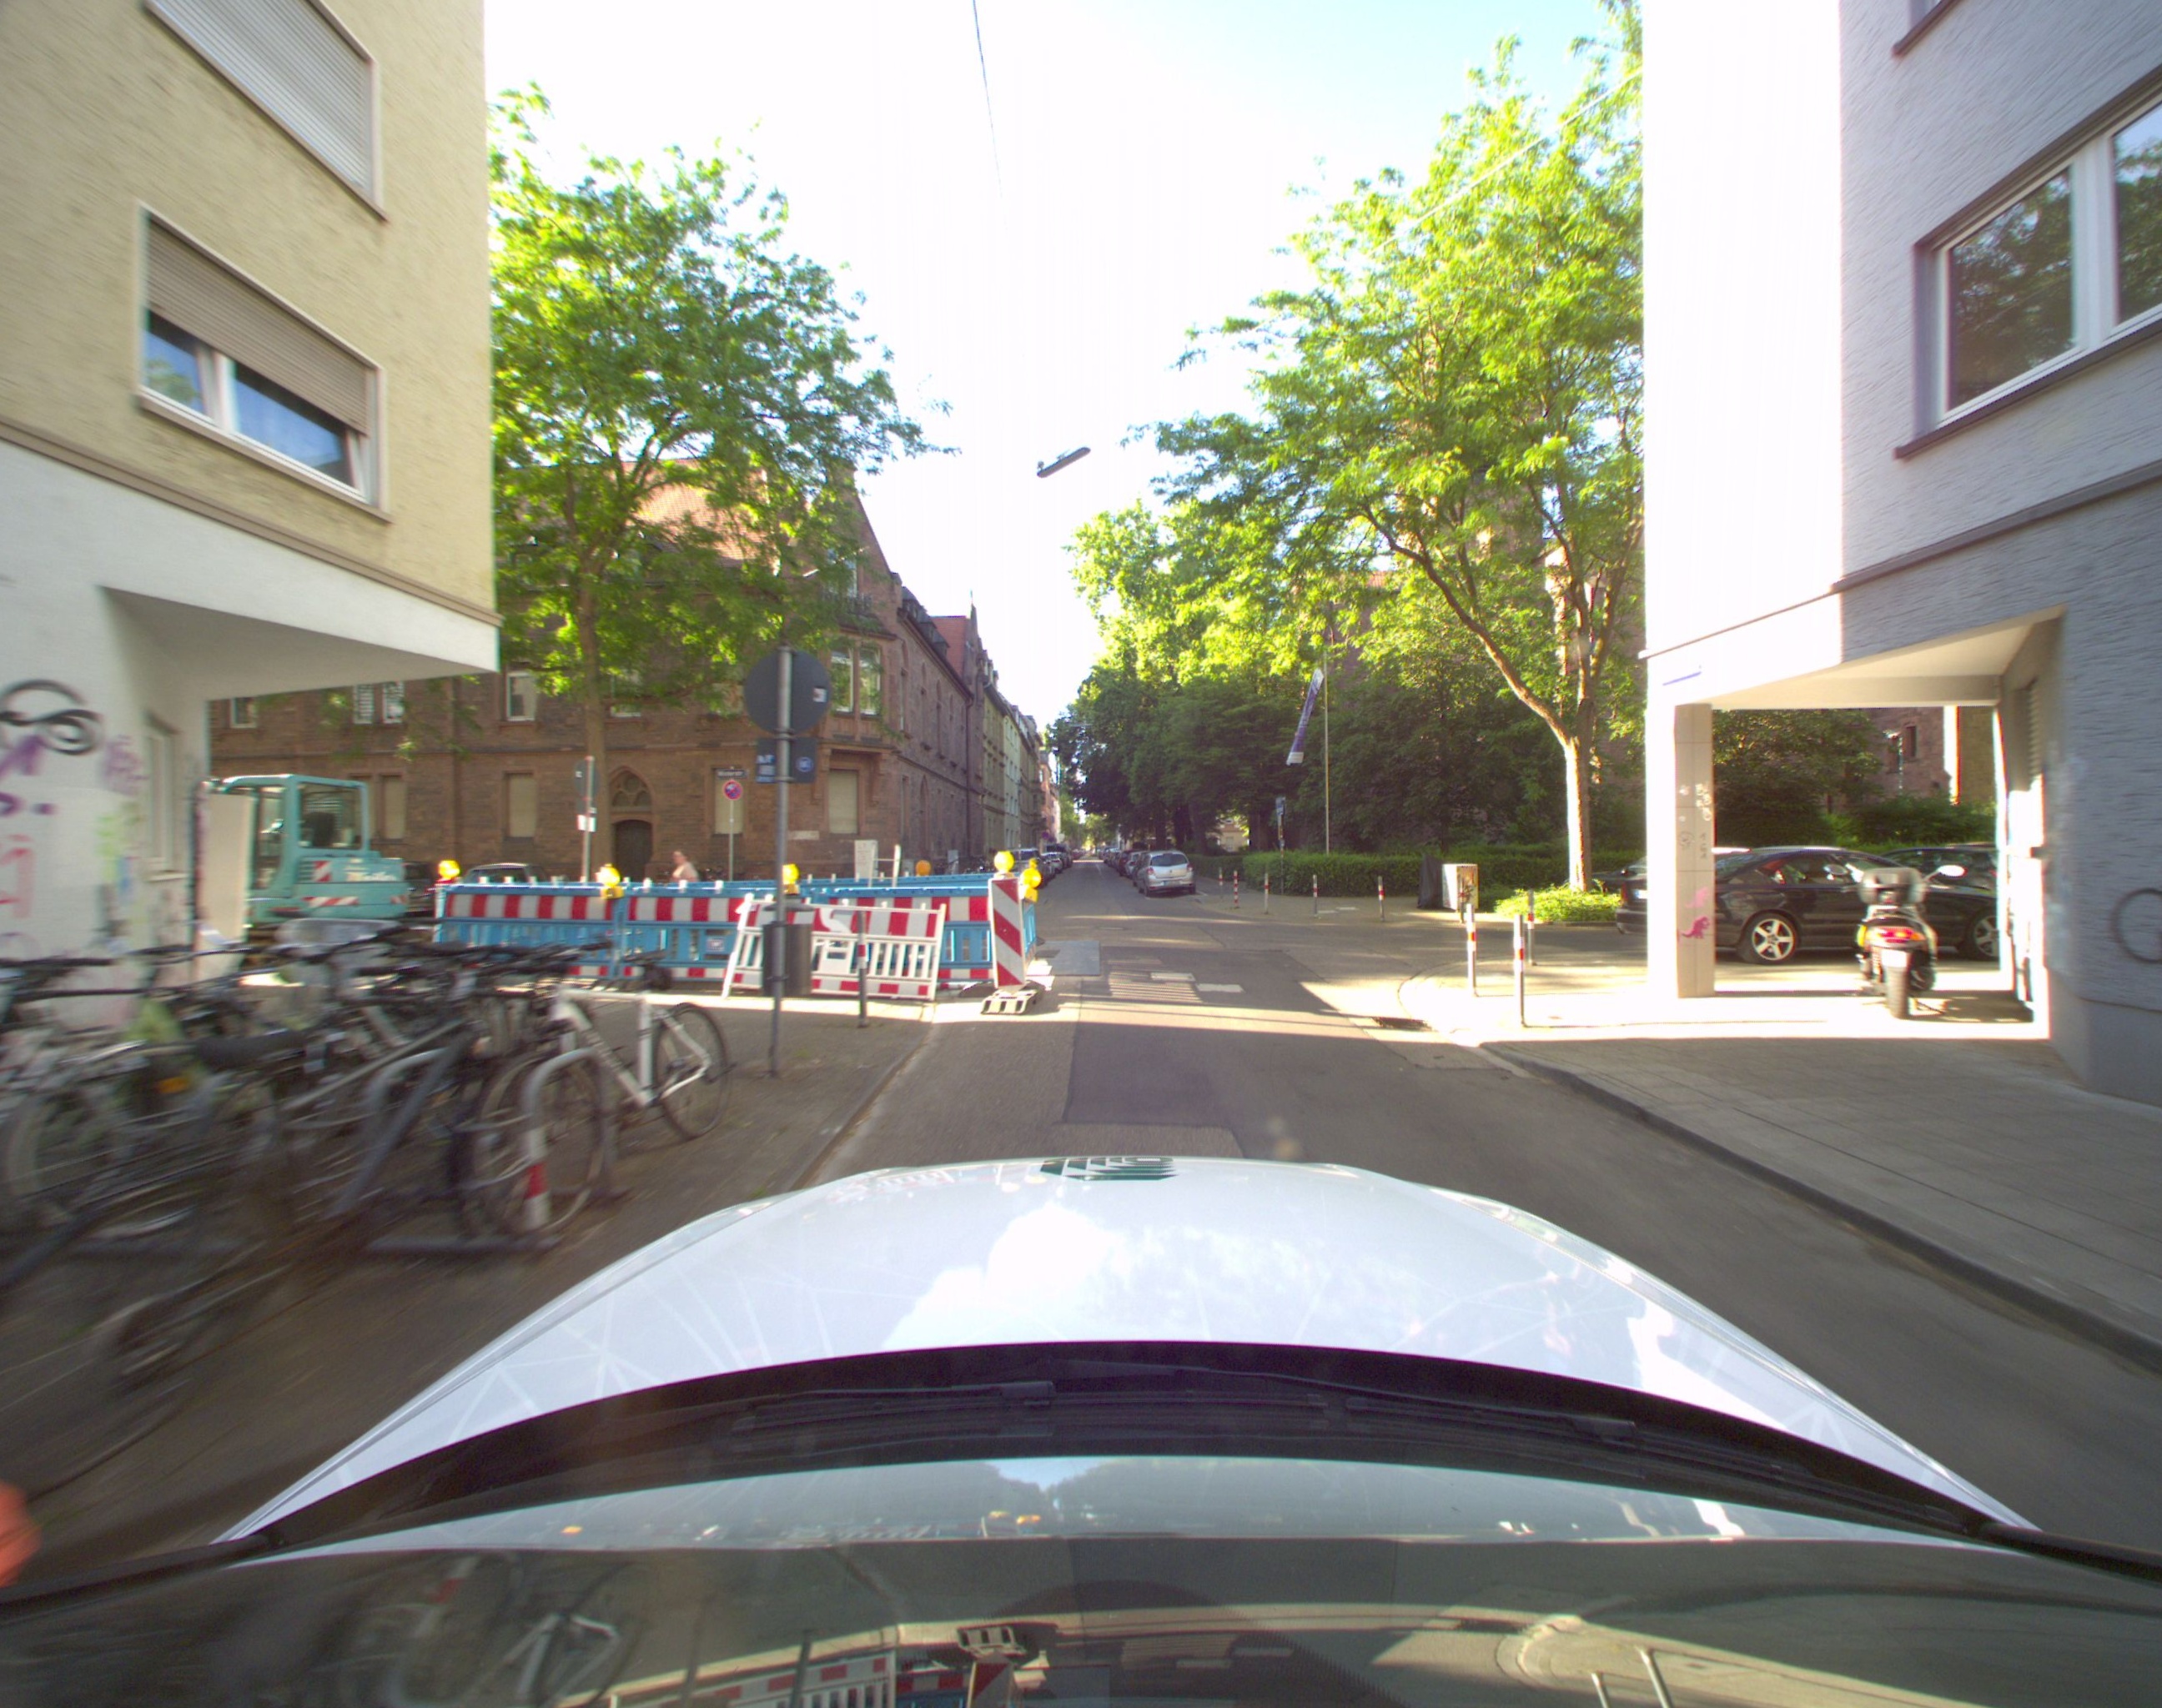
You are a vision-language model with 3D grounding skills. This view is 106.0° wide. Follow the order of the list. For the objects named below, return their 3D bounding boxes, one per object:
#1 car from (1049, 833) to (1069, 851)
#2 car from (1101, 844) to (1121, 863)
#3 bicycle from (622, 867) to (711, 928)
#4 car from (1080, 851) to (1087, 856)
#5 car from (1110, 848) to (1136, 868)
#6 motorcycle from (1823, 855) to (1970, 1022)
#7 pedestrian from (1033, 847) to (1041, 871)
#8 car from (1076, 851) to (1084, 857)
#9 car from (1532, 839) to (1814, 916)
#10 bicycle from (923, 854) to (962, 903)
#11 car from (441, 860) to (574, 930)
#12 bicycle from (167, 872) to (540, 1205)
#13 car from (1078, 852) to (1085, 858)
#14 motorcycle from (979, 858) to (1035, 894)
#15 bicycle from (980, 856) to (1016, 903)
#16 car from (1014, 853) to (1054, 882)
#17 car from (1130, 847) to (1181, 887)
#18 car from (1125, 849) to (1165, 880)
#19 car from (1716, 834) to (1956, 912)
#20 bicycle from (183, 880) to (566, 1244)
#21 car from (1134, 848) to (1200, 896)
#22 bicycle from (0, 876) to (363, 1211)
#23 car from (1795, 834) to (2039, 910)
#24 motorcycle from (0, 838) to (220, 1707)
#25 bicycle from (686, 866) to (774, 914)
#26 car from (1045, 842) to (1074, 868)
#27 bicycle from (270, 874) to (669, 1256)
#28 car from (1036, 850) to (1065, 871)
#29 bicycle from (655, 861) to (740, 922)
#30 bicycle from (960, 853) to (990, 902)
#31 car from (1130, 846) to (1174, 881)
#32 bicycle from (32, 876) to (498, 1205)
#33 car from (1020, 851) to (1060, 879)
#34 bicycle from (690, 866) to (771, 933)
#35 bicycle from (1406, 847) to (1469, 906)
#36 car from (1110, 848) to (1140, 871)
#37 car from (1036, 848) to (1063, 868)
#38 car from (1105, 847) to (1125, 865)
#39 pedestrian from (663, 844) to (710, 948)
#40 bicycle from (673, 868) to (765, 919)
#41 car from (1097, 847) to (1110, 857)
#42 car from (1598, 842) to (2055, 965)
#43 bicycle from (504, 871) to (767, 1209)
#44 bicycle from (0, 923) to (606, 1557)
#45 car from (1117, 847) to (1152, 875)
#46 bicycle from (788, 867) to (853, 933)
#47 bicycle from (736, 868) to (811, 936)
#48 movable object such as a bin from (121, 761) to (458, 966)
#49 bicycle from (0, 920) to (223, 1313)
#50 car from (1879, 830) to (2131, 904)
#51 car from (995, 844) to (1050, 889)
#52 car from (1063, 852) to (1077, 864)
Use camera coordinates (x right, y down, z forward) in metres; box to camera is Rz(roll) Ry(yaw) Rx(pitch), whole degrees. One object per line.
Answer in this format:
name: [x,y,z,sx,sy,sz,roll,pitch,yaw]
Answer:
car: [-2.132,-1.190,79.156,1.787,1.573,4.000,-1,3,0]
car: [3.651,-0.063,99.958,2.154,2.255,4.524,-1,0,0]
bicycle: [-9.425,0.962,18.648,0.680,1.180,2.447,-1,2,2]
car: [0.832,-0.129,241.947,1.987,1.647,4.000,-1,0,0]
car: [3.536,0.343,69.780,1.987,1.574,3.999,-1,0,0]
motorcycle: [7.058,0.648,7.010,2.168,1.227,0.734,1,-3,-42]
pedestrian: [-3.877,0.439,71.448,0.684,2.013,0.690,-1,0,-7]
car: [-0.156,0.011,211.402,1.987,1.647,4.000,-1,0,0]
car: [13.640,0.498,19.158,1.810,1.552,5.050,-1,0,-32]
bicycle: [-4.266,0.706,25.246,0.680,1.423,2.798,-1,0,0]
car: [-14.028,0.910,20.185,1.863,1.483,4.237,-1,0,-24]
bicycle: [-3.438,0.750,4.071,0.293,1.227,1.699,-1,2,0]
car: [0.196,0.246,220.118,1.987,1.647,4.000,-1,0,0]
motorcycle: [-2.572,0.742,28.061,0.670,1.207,2.283,-1,0,-41]
bicycle: [-2.535,0.738,24.707,0.684,1.345,2.490,-1,0,-15]
car: [-2.327,0.637,40.979,1.719,1.393,4.000,-1,0,0]
car: [3.054,0.511,33.940,1.717,1.522,3.999,-1,0,0]
car: [3.471,0.533,44.774,1.835,1.596,4.000,-1,0,0]
car: [17.410,0.392,19.020,1.721,1.618,3.747,-1,0,-18]
bicycle: [-3.060,0.784,3.742,0.362,1.227,1.553,-1,2,-1]
car: [2.928,0.576,28.408,1.719,1.522,3.997,-1,0,-2]
bicycle: [-4.526,0.781,4.004,0.398,1.227,1.815,-1,2,-2]
car: [19.954,0.386,19.662,1.721,1.618,3.747,-1,0,-18]
motorcycle: [-2.681,0.731,0.677,2.525,1.482,0.896,-1,0,-27]
bicycle: [-9.073,0.930,21.098,1.955,1.180,0.685,-1,2,1]
car: [-1.882,0.091,72.494,2.300,2.114,5.172,-1,0,2]
bicycle: [-2.605,0.762,3.783,0.398,1.227,1.873,-1,2,0]
car: [-2.011,0.424,55.180,1.765,1.353,4.000,0,0,0]
bicycle: [-8.702,0.815,18.629,0.680,1.180,2.447,-1,2,2]
bicycle: [-3.242,0.683,24.756,0.574,1.423,2.490,-1,0,-15]
car: [3.390,0.457,39.582,1.735,1.574,3.999,-1,0,0]
bicycle: [-4.066,0.797,4.356,0.398,1.227,2.030,-1,2,0]
car: [-2.266,0.585,45.493,1.875,1.411,4.001,-2,0,1]
bicycle: [-7.970,0.995,18.649,0.680,1.321,2.446,-1,2,2]
bicycle: [8.967,0.541,20.438,0.767,1.371,2.137,-1,0,43]
car: [3.167,0.413,59.480,1.987,1.574,3.999,-1,0,0]
car: [-2.472,0.313,64.786,1.987,1.574,3.999,-1,0,0]
car: [3.374,0.157,80.980,1.824,1.703,3.999,-1,0,0]
pedestrian: [-6.759,0.698,13.964,0.523,1.740,0.557,-1,0,-4]
bicycle: [-9.025,0.973,20.332,1.955,1.180,0.685,-1,2,1]
car: [3.787,-0.335,137.658,1.987,1.728,4.000,-1,0,0]
car: [9.493,0.590,10.640,4.335,1.388,1.849,-1,0,-1]
bicycle: [-2.014,0.739,3.912,0.398,1.227,1.505,-1,2,0]
bicycle: [-2.209,0.864,2.510,0.423,1.140,1.667,2,0,2]
car: [3.212,0.427,49.605,1.888,1.625,3.999,-1,0,0]
bicycle: [-5.914,1.005,18.619,0.680,1.321,2.144,-1,2,2]
bicycle: [-7.013,1.054,18.734,0.680,1.321,2.446,-1,2,2]
movable object such as a bin: [-11.054,0.125,11.569,2.739,2.601,2.073,-1,0,5]
bicycle: [-3.599,0.844,2.258,0.545,1.155,1.869,-1,0,-4]
car: [22.598,0.288,20.116,1.721,1.618,3.747,-1,0,-18]
car: [-2.402,0.511,34.417,1.875,1.707,4.001,-2,0,1]
car: [-1.651,0.605,122.694,1.944,1.709,3.998,-1,0,-1]
